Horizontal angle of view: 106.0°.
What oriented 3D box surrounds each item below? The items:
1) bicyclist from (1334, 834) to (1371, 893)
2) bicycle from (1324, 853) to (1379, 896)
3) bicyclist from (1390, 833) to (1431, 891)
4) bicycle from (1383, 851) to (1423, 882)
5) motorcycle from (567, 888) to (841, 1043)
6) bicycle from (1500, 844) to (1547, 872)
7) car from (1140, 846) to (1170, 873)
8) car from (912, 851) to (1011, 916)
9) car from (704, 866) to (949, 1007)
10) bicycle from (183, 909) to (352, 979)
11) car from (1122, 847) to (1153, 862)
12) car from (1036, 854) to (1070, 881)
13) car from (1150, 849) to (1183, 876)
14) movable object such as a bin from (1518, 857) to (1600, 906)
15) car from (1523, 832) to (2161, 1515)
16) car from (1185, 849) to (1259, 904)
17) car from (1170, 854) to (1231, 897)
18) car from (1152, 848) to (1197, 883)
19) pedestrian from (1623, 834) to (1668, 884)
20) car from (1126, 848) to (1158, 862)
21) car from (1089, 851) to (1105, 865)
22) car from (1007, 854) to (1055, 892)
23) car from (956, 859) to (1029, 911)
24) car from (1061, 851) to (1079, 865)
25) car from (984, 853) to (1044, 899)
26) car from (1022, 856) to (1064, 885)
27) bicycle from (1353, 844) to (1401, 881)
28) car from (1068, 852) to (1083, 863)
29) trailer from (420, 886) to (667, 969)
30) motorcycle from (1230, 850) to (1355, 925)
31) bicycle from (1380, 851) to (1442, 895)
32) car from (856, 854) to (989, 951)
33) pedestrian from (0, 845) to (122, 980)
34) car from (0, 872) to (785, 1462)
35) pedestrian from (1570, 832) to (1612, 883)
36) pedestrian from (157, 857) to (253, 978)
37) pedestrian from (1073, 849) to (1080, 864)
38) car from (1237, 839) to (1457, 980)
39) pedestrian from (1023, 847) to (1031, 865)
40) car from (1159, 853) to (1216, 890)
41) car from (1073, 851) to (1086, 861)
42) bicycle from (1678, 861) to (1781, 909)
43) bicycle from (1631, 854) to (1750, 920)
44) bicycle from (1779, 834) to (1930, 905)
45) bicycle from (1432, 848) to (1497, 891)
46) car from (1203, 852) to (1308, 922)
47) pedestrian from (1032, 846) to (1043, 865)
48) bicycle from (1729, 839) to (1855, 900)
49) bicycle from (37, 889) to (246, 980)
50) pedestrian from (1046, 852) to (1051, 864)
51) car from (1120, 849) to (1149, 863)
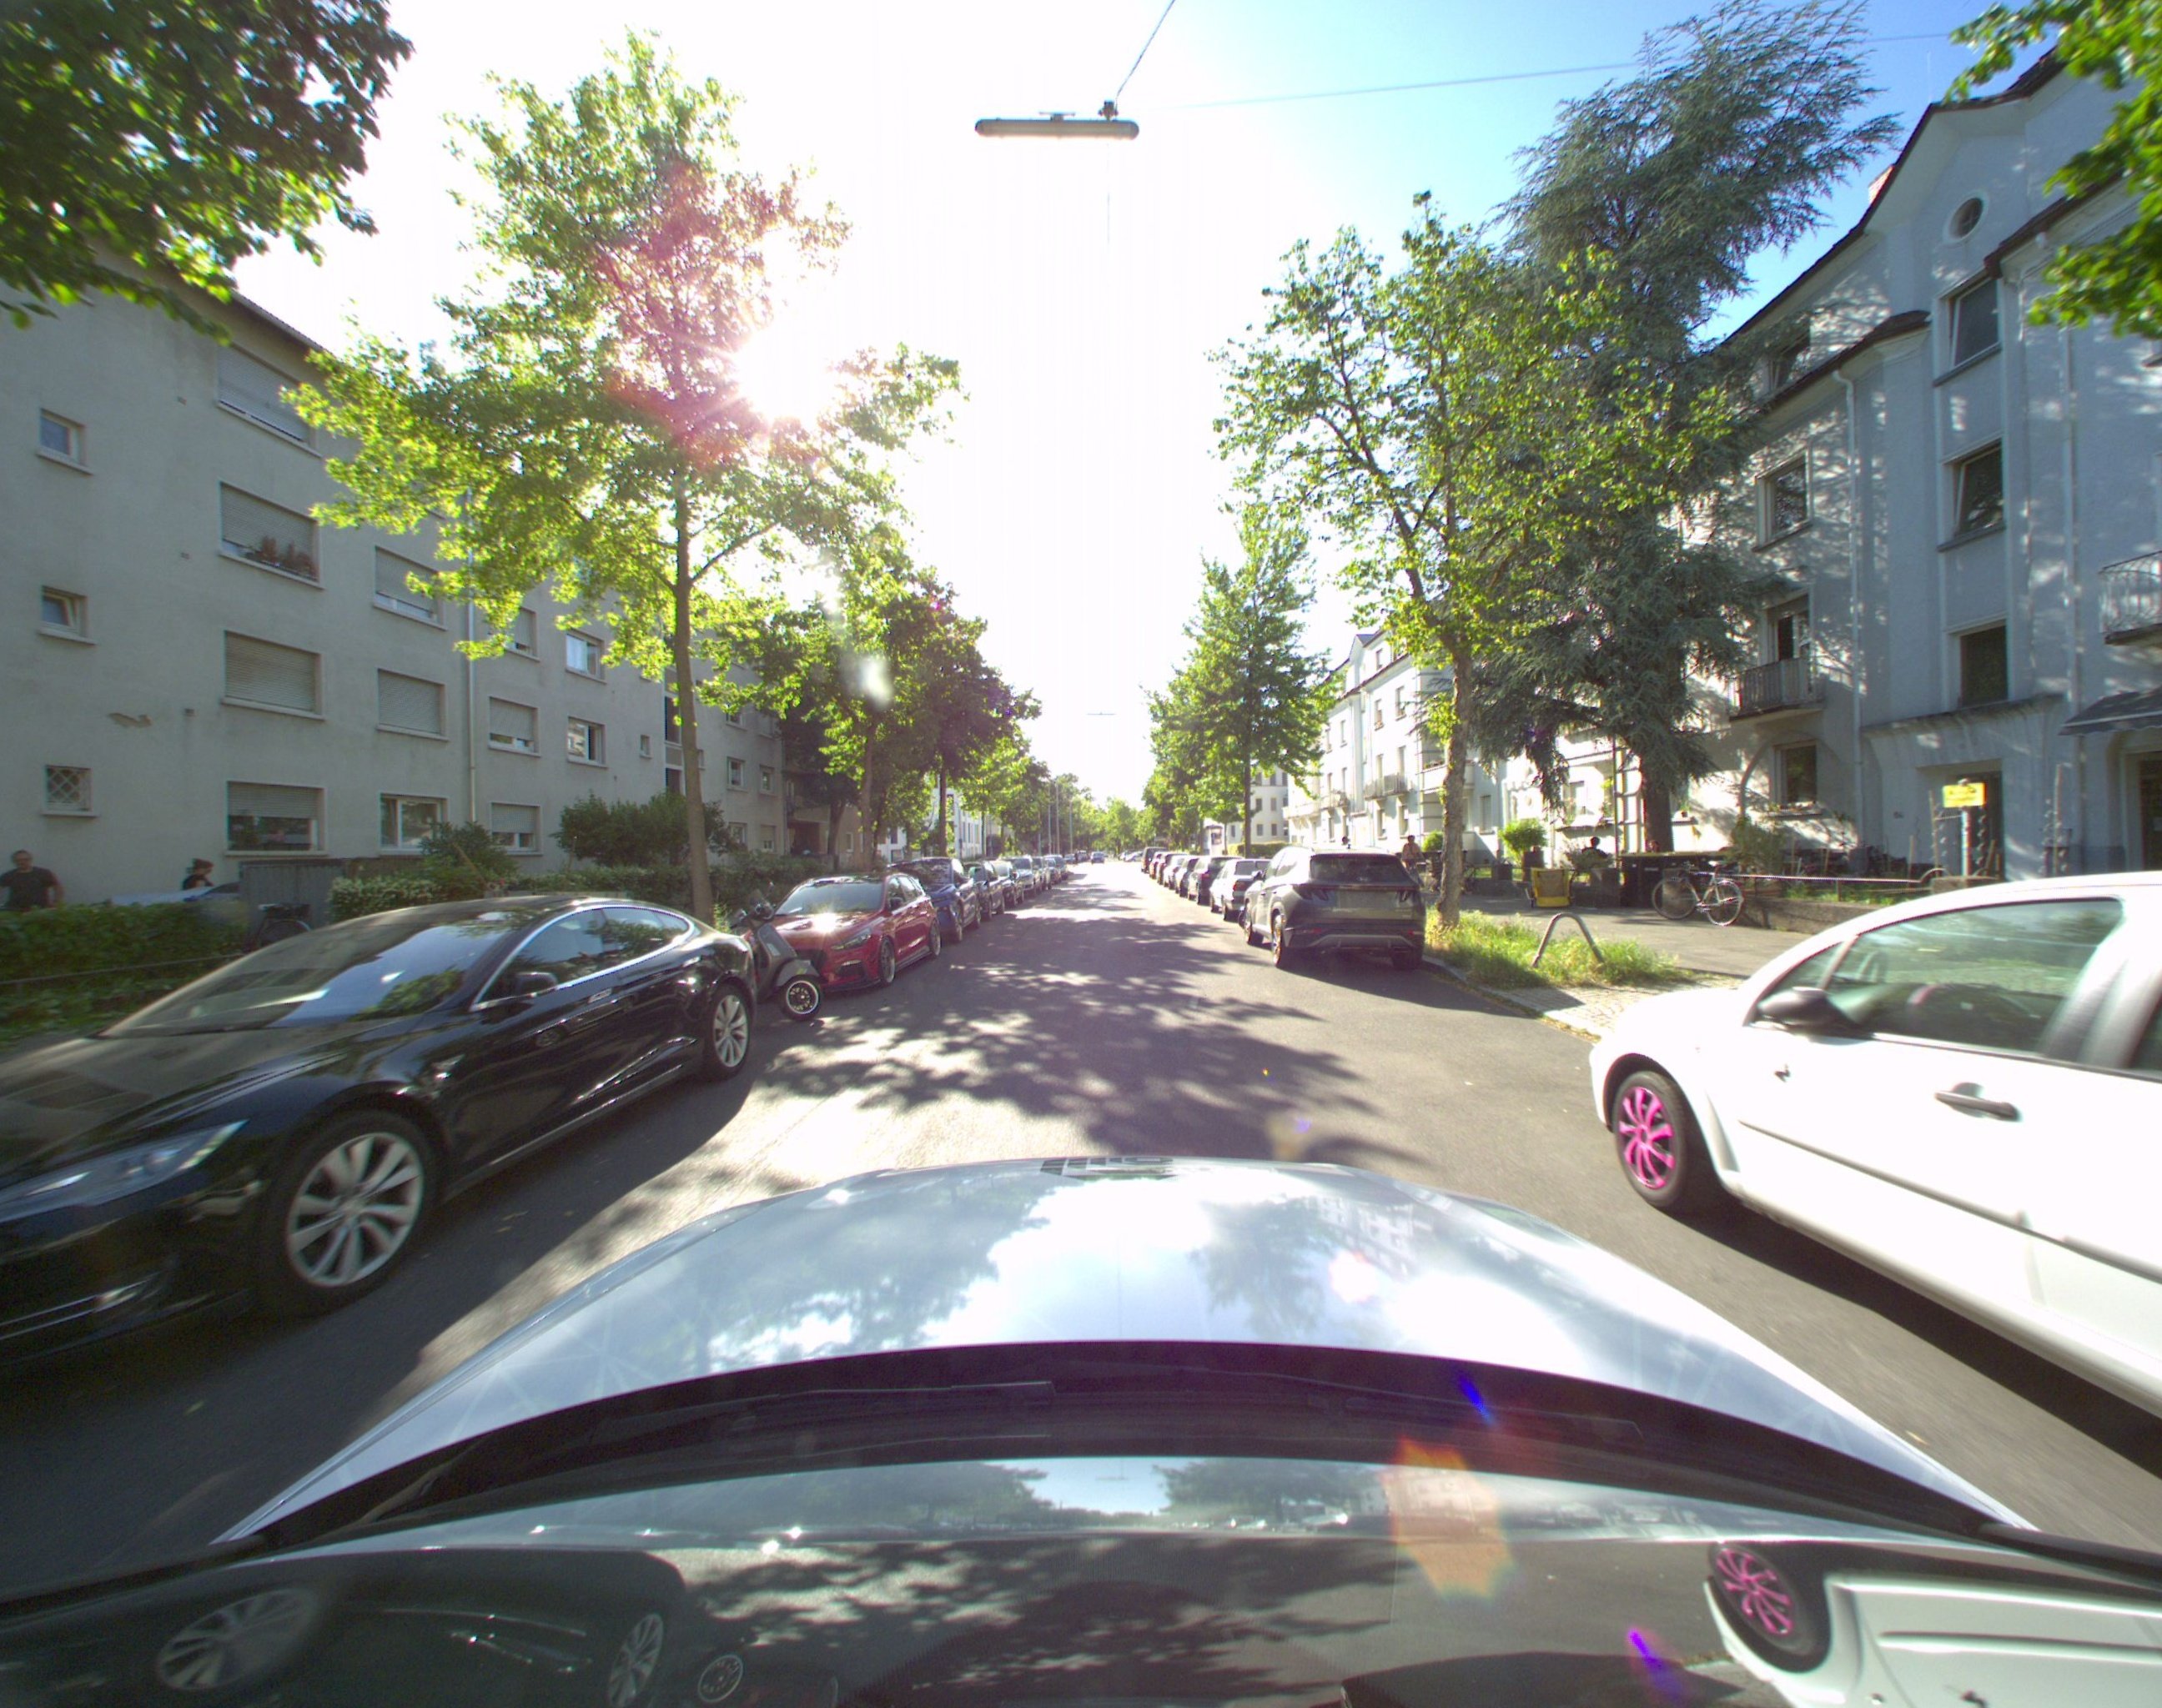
[{"bbox_3d":[7.634,0.270,22.941,0.675,1.609,0.921,-2,0,-1],"label":"bicyclist"},{"bbox_3d":[7.636,0.553,23.105,0.682,1.153,2.402,-2,0,-1],"label":"bicycle"},{"bbox_3d":[9.139,0.207,22.616,0.674,1.553,1.021,-2,0,-1],"label":"bicyclist"},{"bbox_3d":[10.562,0.394,26.780,0.593,0.957,1.904,-2,0,2],"label":"bicycle"},{"bbox_3d":[-3.697,1.065,8.192,2.284,1.270,0.806,-3,0,-9],"label":"motorcycle"},{"bbox_3d":[17.248,0.144,31.763,1.577,0.971,0.475,-5,0,-5],"label":"bicycle"},{"bbox_3d":[5.615,0.381,62.339,1.963,1.949,4.987,-2,0,1],"label":"car"},{"bbox_3d":[-3.039,0.702,21.616,1.822,1.453,4.124,-3,0,2],"label":"car"},{"bbox_3d":[-3.181,0.952,11.200,1.772,1.379,4.265,-4,0,2],"label":"car"},{"bbox_3d":[-11.627,1.275,11.665,1.940,0.917,0.514,-1,0,2],"label":"bicycle"},{"bbox_3d":[7.575,0.083,109.889,3.975,1.805,1.889,-2,0,-1],"label":"car"},{"bbox_3d":[-1.731,0.828,52.272,1.833,1.595,4.263,-4,0,1],"label":"car"},{"bbox_3d":[5.215,0.485,50.112,1.827,1.600,4.161,0,0,3],"label":"car"},{"bbox_3d":[9.823,0.558,16.823,1.210,0.904,1.673,-2,0,22],"label":"movable object such as a bin"},{"bbox_3d":[3.267,0.723,2.562,1.648,1.532,3.970,1,0,1],"label":"car"},{"bbox_3d":[4.287,0.621,25.294,1.686,1.540,4.444,-1,0,2],"label":"car"},{"bbox_3d":[4.332,0.752,30.004,1.782,1.453,3.783,-1,0,2],"label":"car"},{"bbox_3d":[4.751,0.558,41.882,1.900,1.699,4.315,1,0,2],"label":"car"},{"bbox_3d":[13.251,0.117,19.139,0.508,1.142,0.756,-1,0,0],"label":"pedestrian"},{"bbox_3d":[7.824,0.095,104.659,3.977,1.587,1.725,-2,0,-2],"label":"car"},{"bbox_3d":[1.975,0.526,101.909,1.777,1.609,3.999,-2,0,0],"label":"car"},{"bbox_3d":[-2.256,0.835,37.491,1.703,1.544,3.933,-4,0,3],"label":"car"},{"bbox_3d":[-2.788,0.939,26.358,1.755,1.443,3.910,-4,0,1],"label":"car"},{"bbox_3d":[-1.407,0.534,106.439,1.986,1.671,4.002,-2,0,2],"label":"car"},{"bbox_3d":[-2.555,0.816,31.890,1.804,1.596,4.235,-2,0,2],"label":"car"},{"bbox_3d":[-2.099,0.899,46.206,1.986,1.453,4.263,-4,0,1],"label":"car"},{"bbox_3d":[10.563,0.291,29.183,0.836,1.257,2.230,-1,0,-2],"label":"bicycle"},{"bbox_3d":[-0.811,0.503,121.724,1.986,1.585,4.002,-2,0,2],"label":"car"},{"bbox_3d":[-8.763,1.157,13.653,1.781,1.034,3.285,-2,0,4],"label":"trailer"},{"bbox_3d":[4.292,0.673,16.606,2.343,1.423,0.687,-2,0,1],"label":"motorcycle"},{"bbox_3d":[9.149,0.499,22.704,0.682,1.153,2.402,-2,0,-1],"label":"bicycle"},{"bbox_3d":[-3.043,0.847,16.562,1.784,1.566,4.463,-5,0,-1],"label":"car"},{"bbox_3d":[-15.290,0.833,12.046,0.931,1.888,1.025,-2,0,-3],"label":"pedestrian"},{"bbox_3d":[-3.506,0.975,4.557,1.721,1.477,4.622,-5,0,2],"label":"car"},{"bbox_3d":[11.752,0.078,18.771,0.507,1.142,0.756,-1,0,4],"label":"pedestrian"},{"bbox_3d":[-14.656,1.034,13.641,0.773,1.913,0.884,-2,0,29],"label":"pedestrian"},{"bbox_3d":[-0.545,0.301,100.792,0.714,1.900,0.834,-2,0,-8],"label":"pedestrian"},{"bbox_3d":[3.612,0.629,12.142,1.917,1.651,5.100,0,0,4],"label":"car"},{"bbox_3d":[-6.289,0.207,94.620,0.856,2.013,0.981,-2,0,0],"label":"pedestrian"},{"bbox_3d":[4.578,0.708,35.582,1.890,1.474,4.700,1,0,1],"label":"car"},{"bbox_3d":[-0.261,0.382,143.515,1.986,1.585,4.002,-2,0,2],"label":"car"},{"bbox_3d":[11.279,0.534,14.187,1.356,0.756,0.472,-2,0,5],"label":"bicycle"},{"bbox_3d":[9.889,0.505,13.312,0.578,0.975,1.905,-2,0,4],"label":"bicycle"},{"bbox_3d":[13.155,0.259,13.887,1.888,1.100,0.584,-2,0,5],"label":"bicycle"},{"bbox_3d":[10.431,0.404,22.232,0.801,1.115,1.999,-1,0,-1],"label":"bicycle"},{"bbox_3d":[4.070,0.707,19.653,1.744,1.454,4.464,1,0,2],"label":"car"},{"bbox_3d":[-4.464,0.157,84.339,0.853,2.013,0.984,-2,0,10],"label":"pedestrian"},{"bbox_3d":[14.105,0.304,16.195,1.888,1.100,0.584,-2,0,5],"label":"bicycle"},{"bbox_3d":[-13.909,1.150,12.143,0.508,1.153,1.966,-1,0,25],"label":"bicycle"},{"bbox_3d":[-5.379,0.695,135.727,0.760,1.900,0.817,-2,0,-5],"label":"pedestrian"},{"bbox_3d":[7.622,0.253,117.219,3.975,1.830,1.999,-2,0,-1],"label":"car"}]
